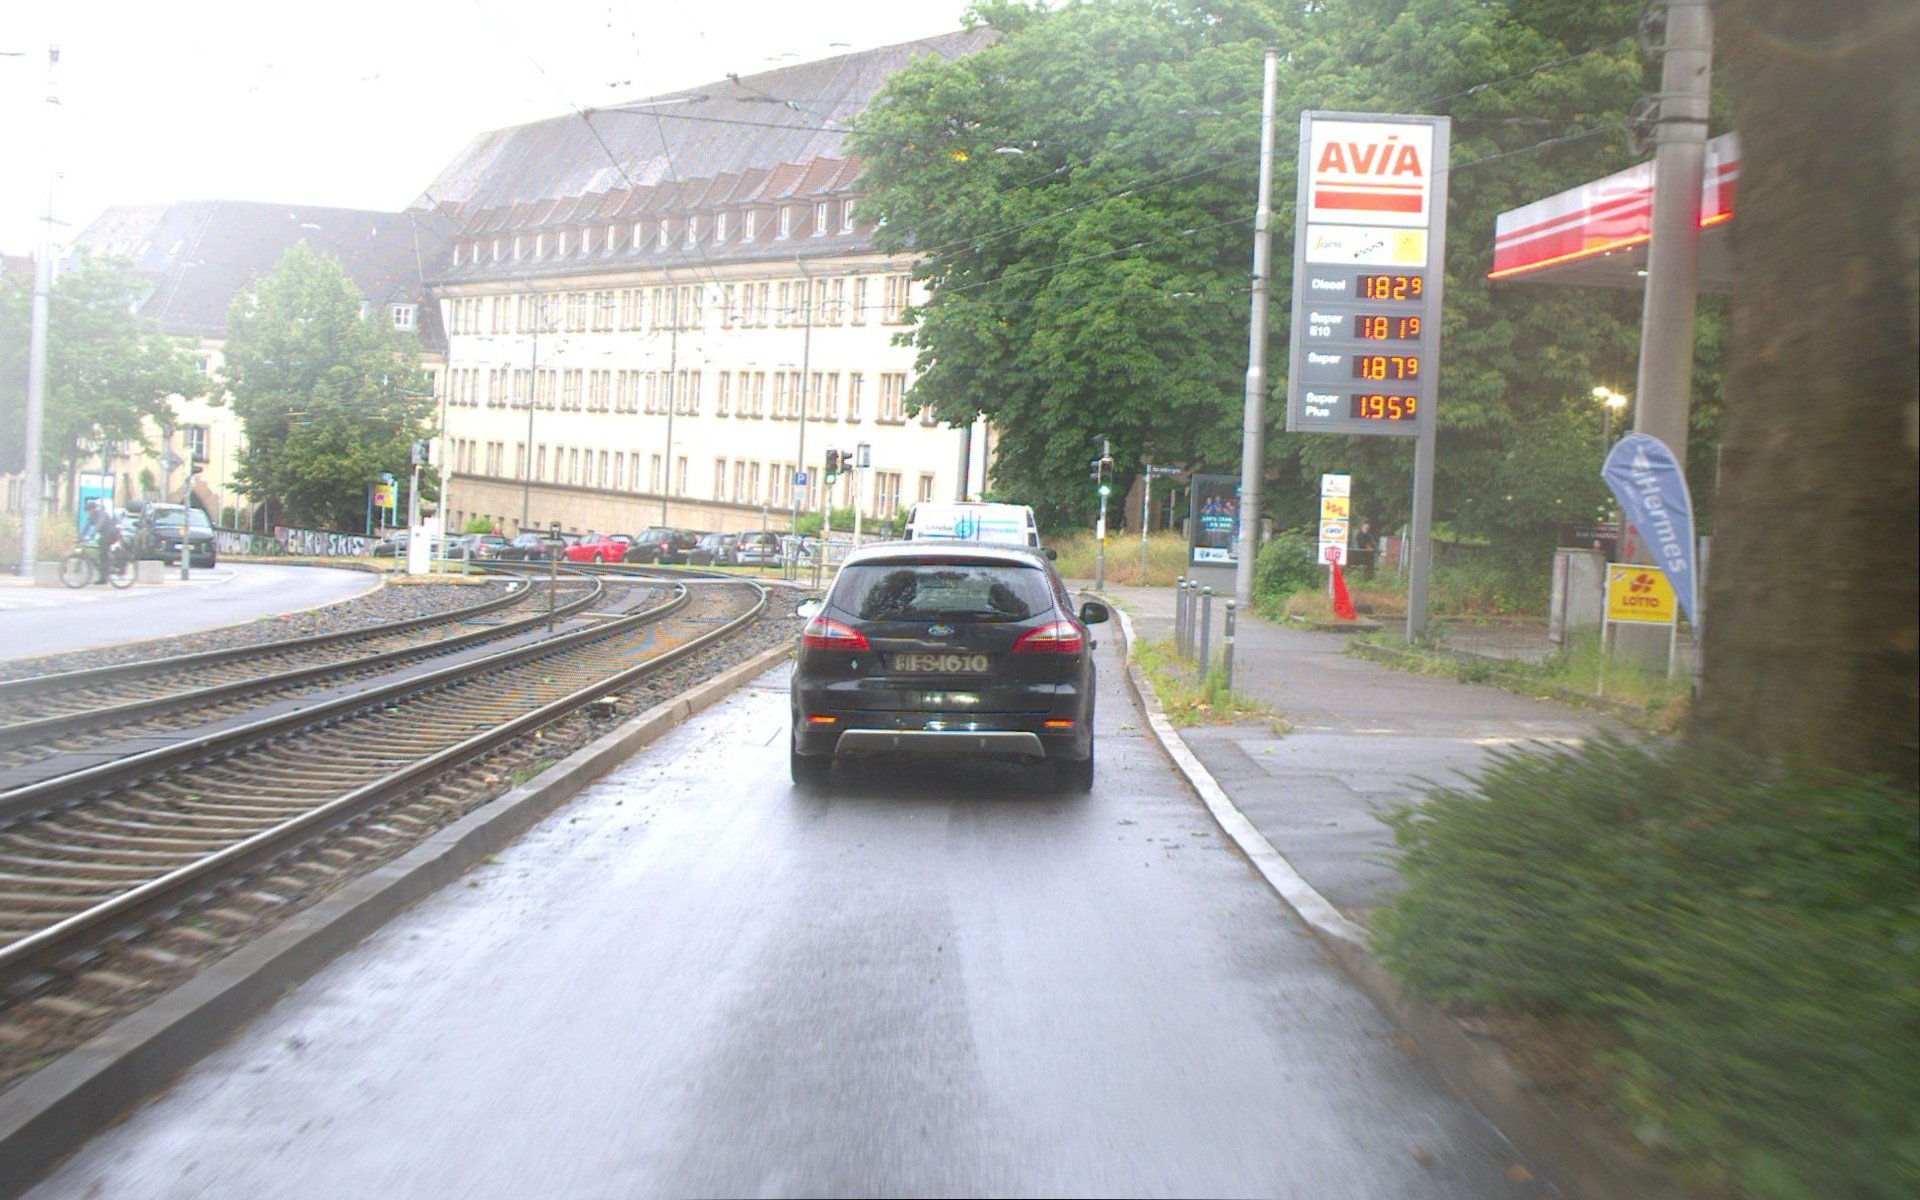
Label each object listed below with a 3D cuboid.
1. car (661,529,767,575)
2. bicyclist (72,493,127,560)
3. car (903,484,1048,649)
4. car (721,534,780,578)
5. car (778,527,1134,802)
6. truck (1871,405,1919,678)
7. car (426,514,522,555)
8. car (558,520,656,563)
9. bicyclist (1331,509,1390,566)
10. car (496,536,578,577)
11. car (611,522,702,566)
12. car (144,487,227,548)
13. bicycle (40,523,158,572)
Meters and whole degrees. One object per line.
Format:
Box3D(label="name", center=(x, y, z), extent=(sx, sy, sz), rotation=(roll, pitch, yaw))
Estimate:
Box3D(label="car", center=(-9.016, -1.772, 125.782), extent=(1.994, 1.537, 4.000), rotation=(2, 1, -36))
Box3D(label="bicyclist", center=(-17.075, -1.460, 68.224), extent=(0.772, 1.309, 0.791), rotation=(0, 1, -38))
Box3D(label="car", center=(0.225, -0.435, 45.391), extent=(1.740, 2.007, 3.904), rotation=(3, 0, 1))
Box3D(label="car", center=(-7.456, -1.574, 122.118), extent=(1.656, 1.471, 3.645), rotation=(2, 0, -10))
Box3D(label="car", center=(-0.124, 0.347, 21.637), extent=(1.933, 1.448, 4.318), rotation=(3, 0, -3))
Box3D(label="truck", center=(14.320, -0.689, 42.550), extent=(3.902, 3.505, 6.980), rotation=(1, 1, -3))
Box3D(label="car", center=(-20.268, -2.731, 143.194), extent=(1.994, 1.537, 3.998), rotation=(2, 1, -42))
Box3D(label="car", center=(-13.891, -2.312, 135.060), extent=(1.994, 1.537, 3.999), rotation=(2, 1, -37))
Box3D(label="bicyclist", center=(8.492, -1.332, 72.905), extent=(0.736, 1.175, 1.077), rotation=(1, 1, -28))
Box3D(label="car", center=(-17.198, -1.773, 139.647), extent=(1.993, 1.537, 4.001), rotation=(1, 1, -28))
Box3D(label="car", center=(-11.557, -2.134, 130.738), extent=(1.581, 1.537, 4.000), rotation=(2, 1, -36))
Box3D(label="car", center=(-20.907, -2.211, 92.958), extent=(1.993, 1.537, 4.001), rotation=(2, 0, -11))
Box3D(label="bicycle", center=(-17.095, -1.036, 68.273), extent=(2.099, 0.940, 0.815), rotation=(0, 1, -39))
